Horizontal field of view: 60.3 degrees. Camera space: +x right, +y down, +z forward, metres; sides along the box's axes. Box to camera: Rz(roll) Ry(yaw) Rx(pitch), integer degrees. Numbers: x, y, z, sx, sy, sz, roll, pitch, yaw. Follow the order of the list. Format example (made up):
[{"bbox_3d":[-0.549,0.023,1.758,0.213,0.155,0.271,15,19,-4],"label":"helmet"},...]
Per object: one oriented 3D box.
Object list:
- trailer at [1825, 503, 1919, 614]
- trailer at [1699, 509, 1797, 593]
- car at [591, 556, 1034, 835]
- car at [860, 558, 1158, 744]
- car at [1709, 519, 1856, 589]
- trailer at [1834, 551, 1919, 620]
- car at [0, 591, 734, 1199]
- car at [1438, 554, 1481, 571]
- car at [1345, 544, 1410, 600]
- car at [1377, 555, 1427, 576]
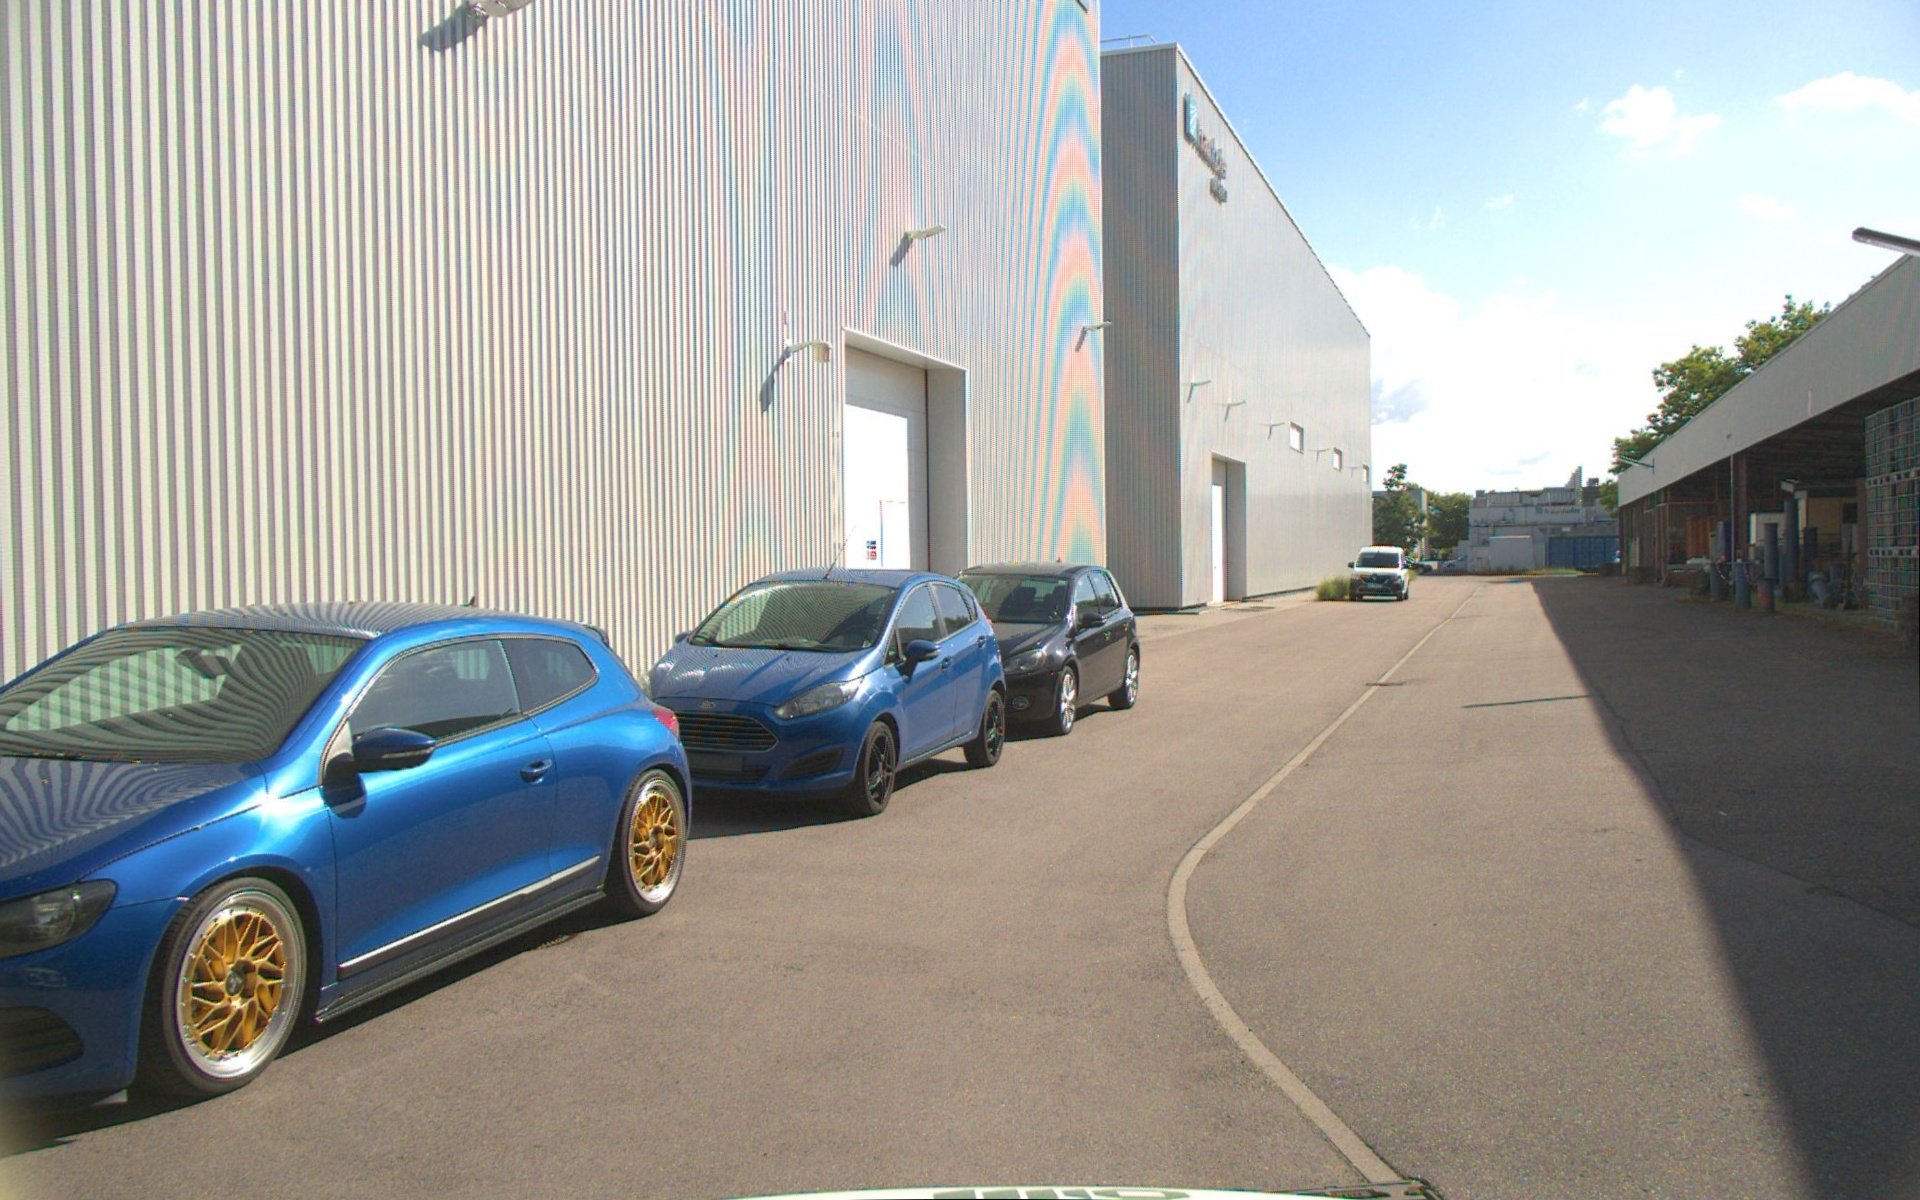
[{"bbox_3d":[19.929,-0.861,31.726,5.646,2.067,2.078,-1,1,20],"label":"trailer"},{"bbox_3d":[23.671,-1.438,49.757,2.471,2.440,1.727,-1,0,20],"label":"trailer"},{"bbox_3d":[-0.798,0.477,11.478,1.596,1.526,4.097,2,2,17],"label":"car"},{"bbox_3d":[0.633,0.373,16.165,1.718,1.526,4.296,1,2,19],"label":"car"},{"bbox_3d":[28.465,-1.582,57.394,4.341,2.350,1.916,1,0,20],"label":"car"},{"bbox_3d":[18.642,-0.320,28.786,5.724,1.153,2.143,-1,1,17],"label":"trailer"},{"bbox_3d":[-2.512,0.701,6.189,1.737,1.384,4.056,0,1,18],"label":"car"},{"bbox_3d":[48.730,-3.637,161.317,3.903,1.626,1.849,1,0,18],"label":"car"},{"bbox_3d":[14.345,-0.997,56.684,1.781,1.818,4.407,1,2,19],"label":"car"},{"bbox_3d":[36.374,-2.809,136.095,3.903,1.626,1.742,1,0,18],"label":"car"}]
